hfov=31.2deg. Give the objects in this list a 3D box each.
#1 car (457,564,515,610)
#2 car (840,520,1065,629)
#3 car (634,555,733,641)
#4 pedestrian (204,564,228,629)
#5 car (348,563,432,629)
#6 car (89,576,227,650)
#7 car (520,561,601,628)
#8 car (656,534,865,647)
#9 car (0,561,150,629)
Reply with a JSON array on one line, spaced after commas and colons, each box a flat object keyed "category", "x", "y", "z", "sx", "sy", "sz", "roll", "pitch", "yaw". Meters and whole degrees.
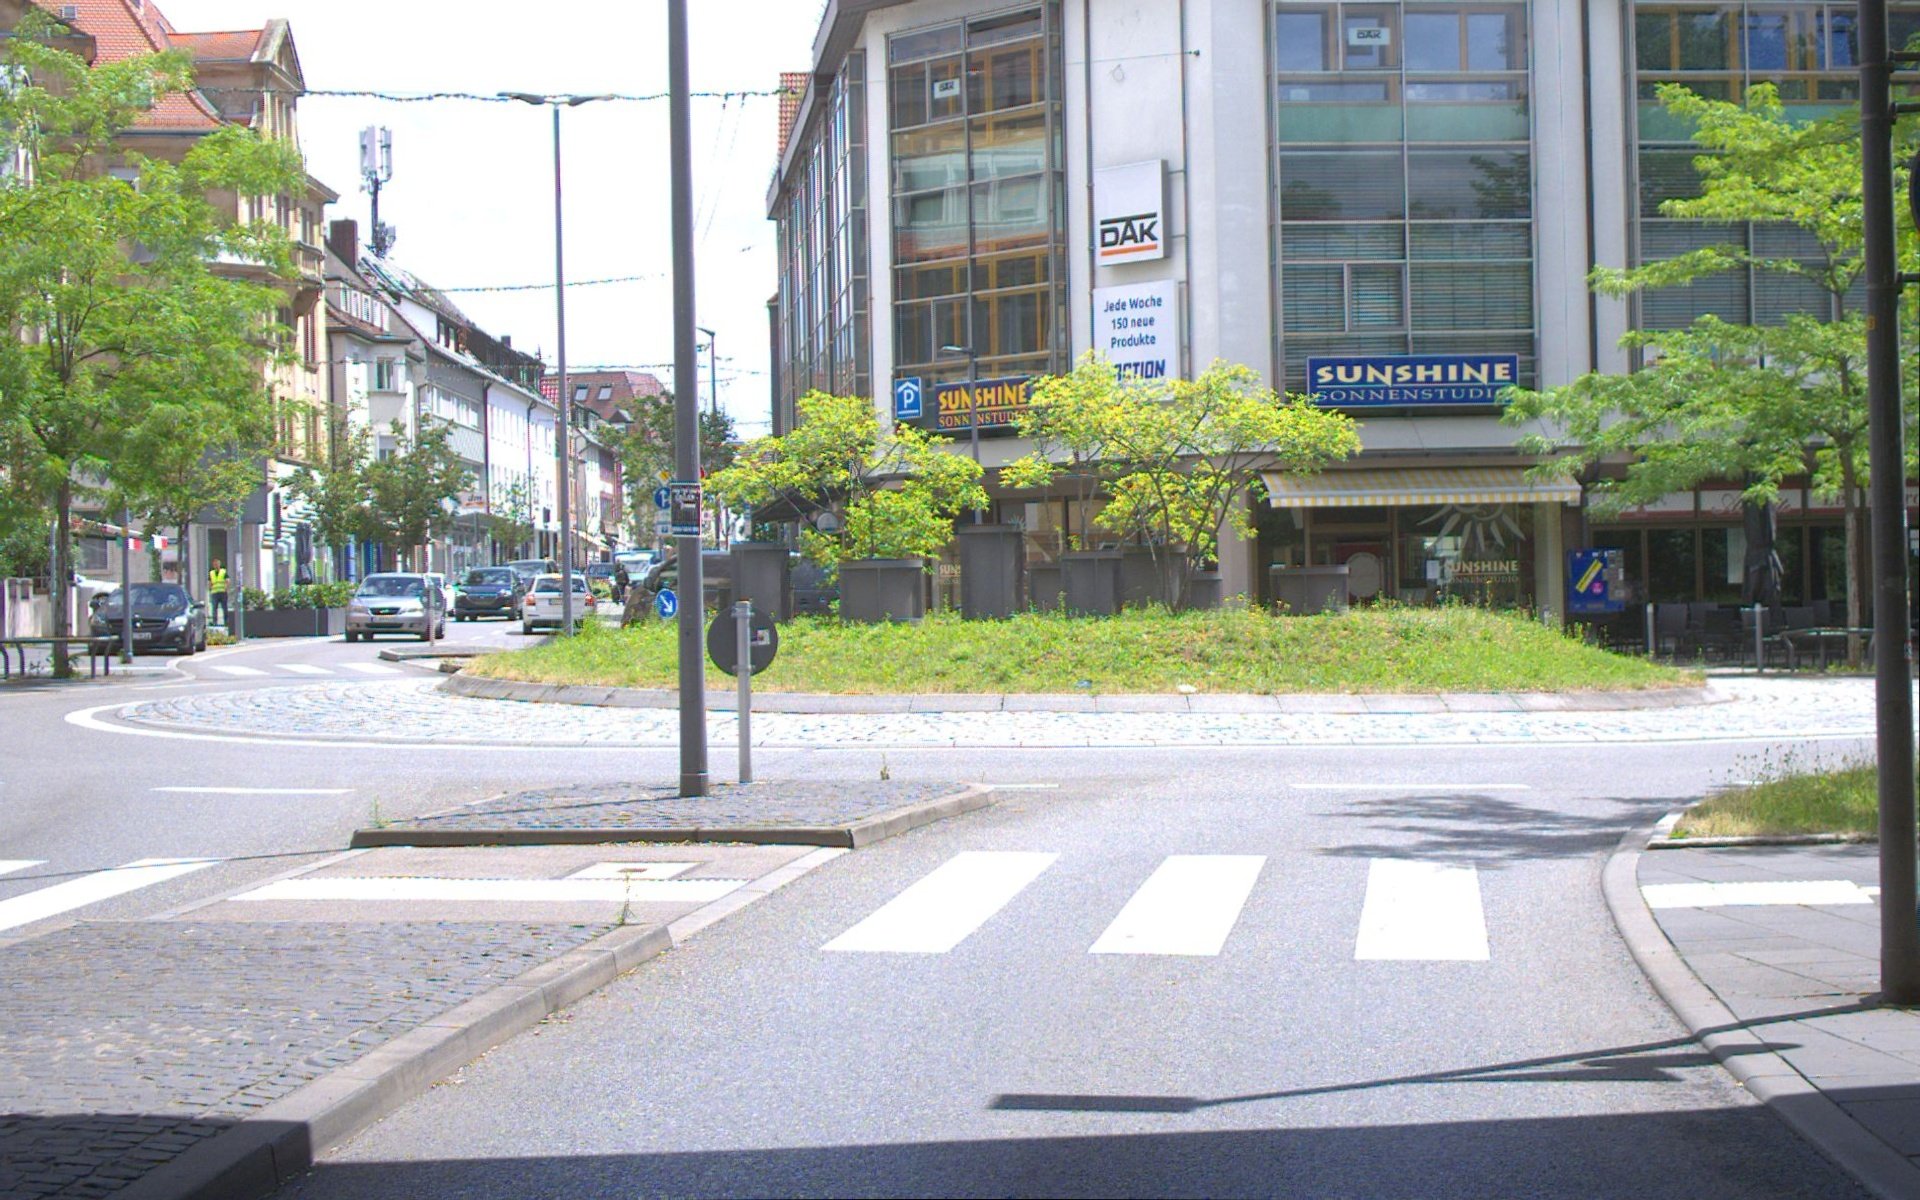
[{"category": "car", "x": -14.570, "y": -0.411, "z": 105.560, "sx": 1.709, "sy": 1.349, "sz": 4.001, "roll": 0, "pitch": 1, "yaw": -8}, {"category": "car", "x": -0.173, "y": -0.424, "z": 55.508, "sx": 1.993, "sy": 1.682, "sz": 4.694, "roll": -1, "pitch": 1, "yaw": -22}, {"category": "car", "x": -5.843, "y": -0.060, "z": 72.951, "sx": 1.824, "sy": 1.725, "sz": 4.233, "roll": -2, "pitch": 0, "yaw": -1}, {"category": "pedestrian", "x": -19.252, "y": -0.087, "z": 88.988, "sx": 0.551, "sy": 1.680, "sz": 0.516, "roll": 0, "pitch": 1, "yaw": -8}, {"category": "car", "x": -12.238, "y": -0.113, "z": 73.943, "sx": 1.709, "sy": 1.349, "sz": 4.001, "roll": 0, "pitch": 1, "yaw": -8}, {"category": "car", "x": -14.484, "y": 0.213, "z": 62.302, "sx": 1.709, "sy": 1.241, "sz": 4.412, "roll": 0, "pitch": 1, "yaw": -3}, {"category": "car", "x": -9.526, "y": -0.133, "z": 82.189, "sx": 1.824, "sy": 1.514, "sz": 4.234, "roll": -1, "pitch": 0, "yaw": -6}, {"category": "car", "x": -3.233, "y": -0.161, "z": 54.748, "sx": 1.823, "sy": 1.701, "sz": 4.441, "roll": 1, "pitch": 0, "yaw": -24}, {"category": "car", "x": -24.270, "y": -0.144, "z": 92.894, "sx": 4.417, "sy": 1.769, "sz": 2.001, "roll": 0, "pitch": 0, "yaw": -20}]
